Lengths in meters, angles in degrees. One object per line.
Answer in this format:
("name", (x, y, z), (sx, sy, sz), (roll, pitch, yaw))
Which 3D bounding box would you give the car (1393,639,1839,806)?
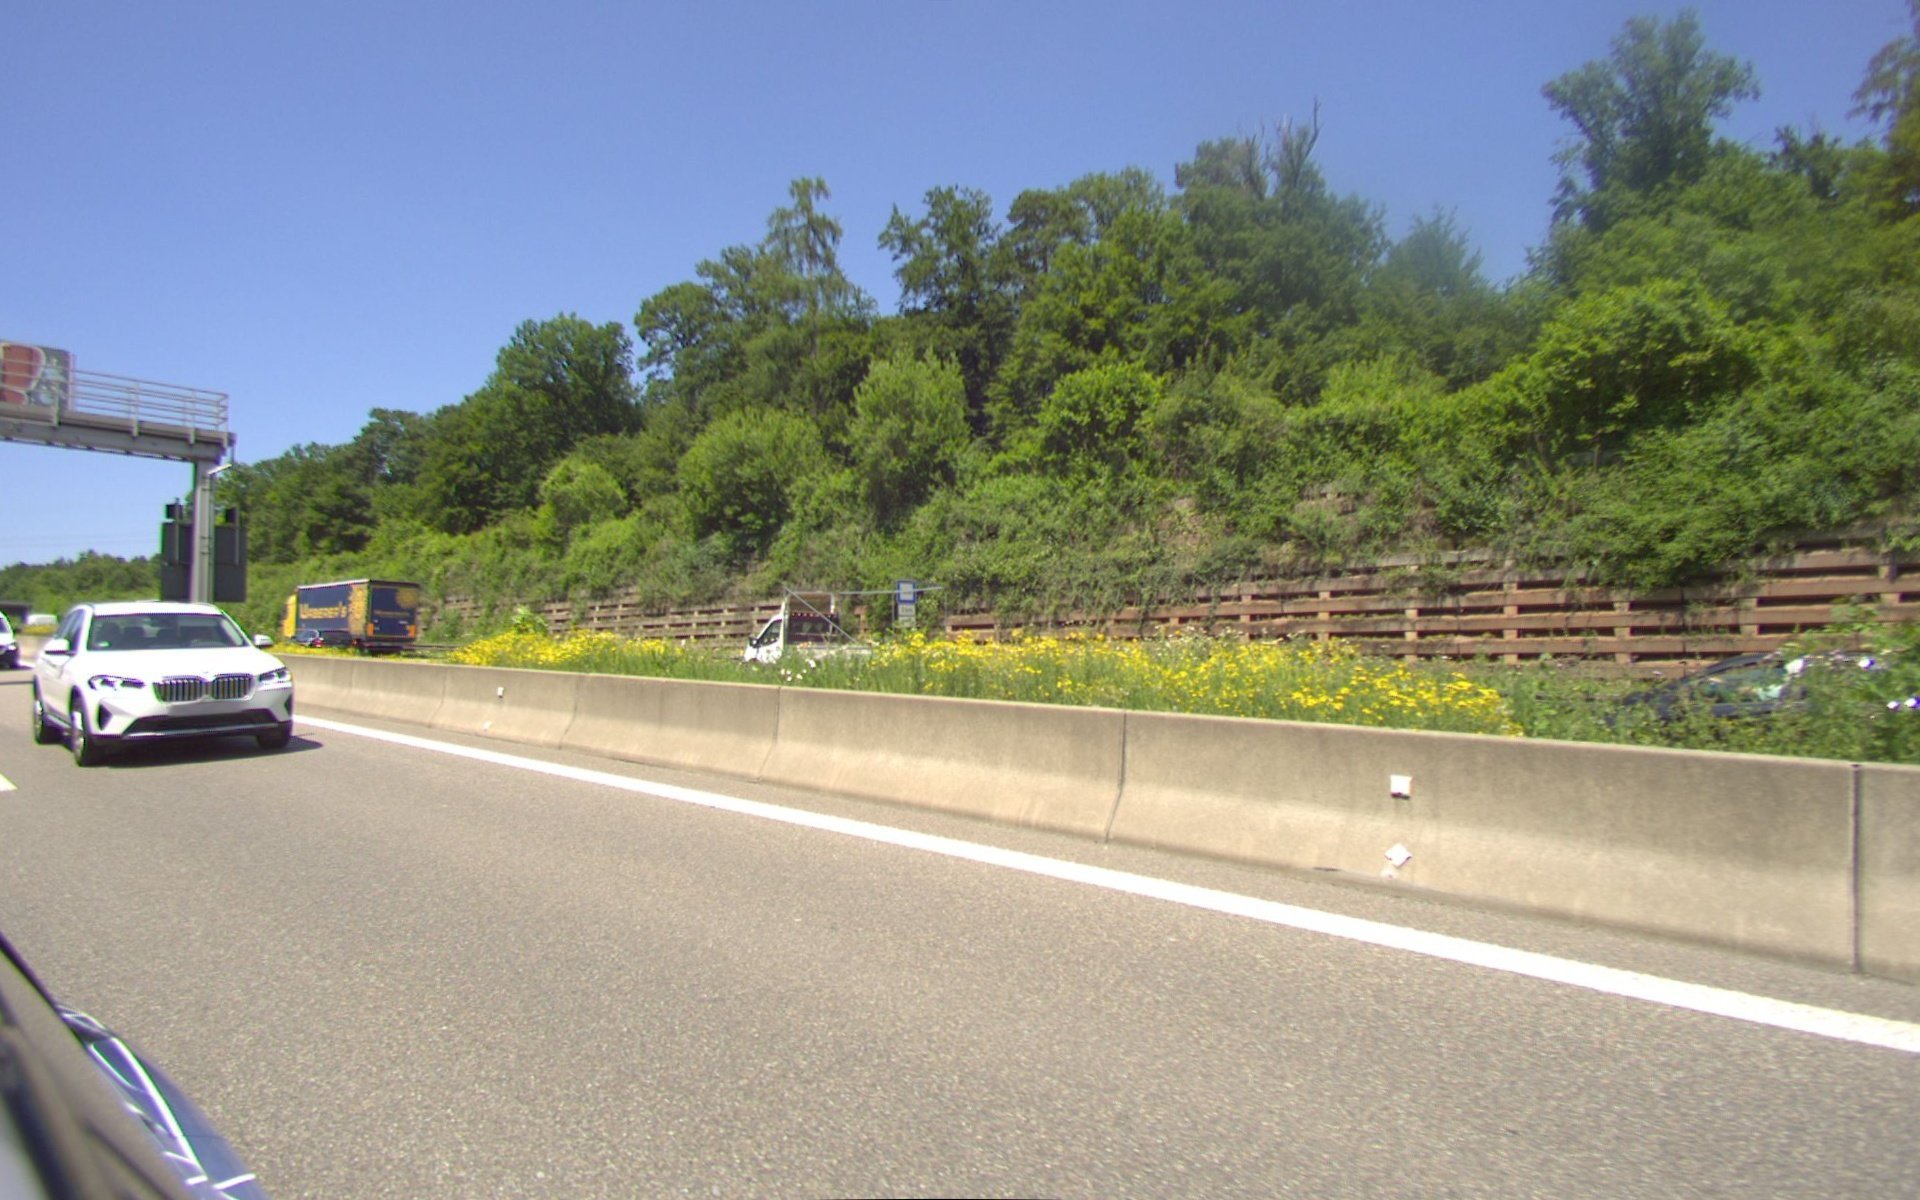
("car", (7.565, 1.286, 11.955), (4.196, 1.617, 1.690), (-2, -3, 41))

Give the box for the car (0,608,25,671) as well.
("car", (-29.529, 1.180, 30.214), (4.501, 1.788, 1.972), (-1, 0, 43))

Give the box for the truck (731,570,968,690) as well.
("truck", (-3.288, 0.870, 28.728), (7.058, 3.015, 2.552), (-2, -3, 41))

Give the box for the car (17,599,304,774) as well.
("car", (-9.371, 0.868, 11.730), (4.366, 1.656, 1.826), (-2, -1, 41))

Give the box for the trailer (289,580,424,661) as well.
("trailer", (-35.454, 1.277, 59.011), (14.468, 4.239, 2.944), (-1, -4, 44))

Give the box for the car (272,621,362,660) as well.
("car", (-28.275, 1.790, 44.429), (4.859, 1.617, 1.982), (-2, -3, 41))

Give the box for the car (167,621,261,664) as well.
("car", (-29.528, 1.678, 40.008), (4.710, 1.617, 1.982), (-2, -3, 41))

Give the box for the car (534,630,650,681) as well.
("car", (-12.476, 1.831, 34.208), (4.369, 1.616, 1.781), (-2, -3, 41))

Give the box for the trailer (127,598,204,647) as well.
("trailer", (-73.230, 2.092, 93.113), (13.987, 4.132, 2.947), (-1, -4, 41))

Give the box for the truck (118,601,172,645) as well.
("truck", (-79.347, 2.259, 98.490), (5.865, 4.090, 2.903), (-1, -4, 41))

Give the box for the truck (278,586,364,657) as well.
("truck", (-40.188, 1.405, 63.601), (6.459, 4.234, 2.918), (-1, -4, 44))

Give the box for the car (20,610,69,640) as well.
("car", (-86.546, 2.379, 95.674), (5.680, 2.694, 2.726), (-2, -3, 41))
